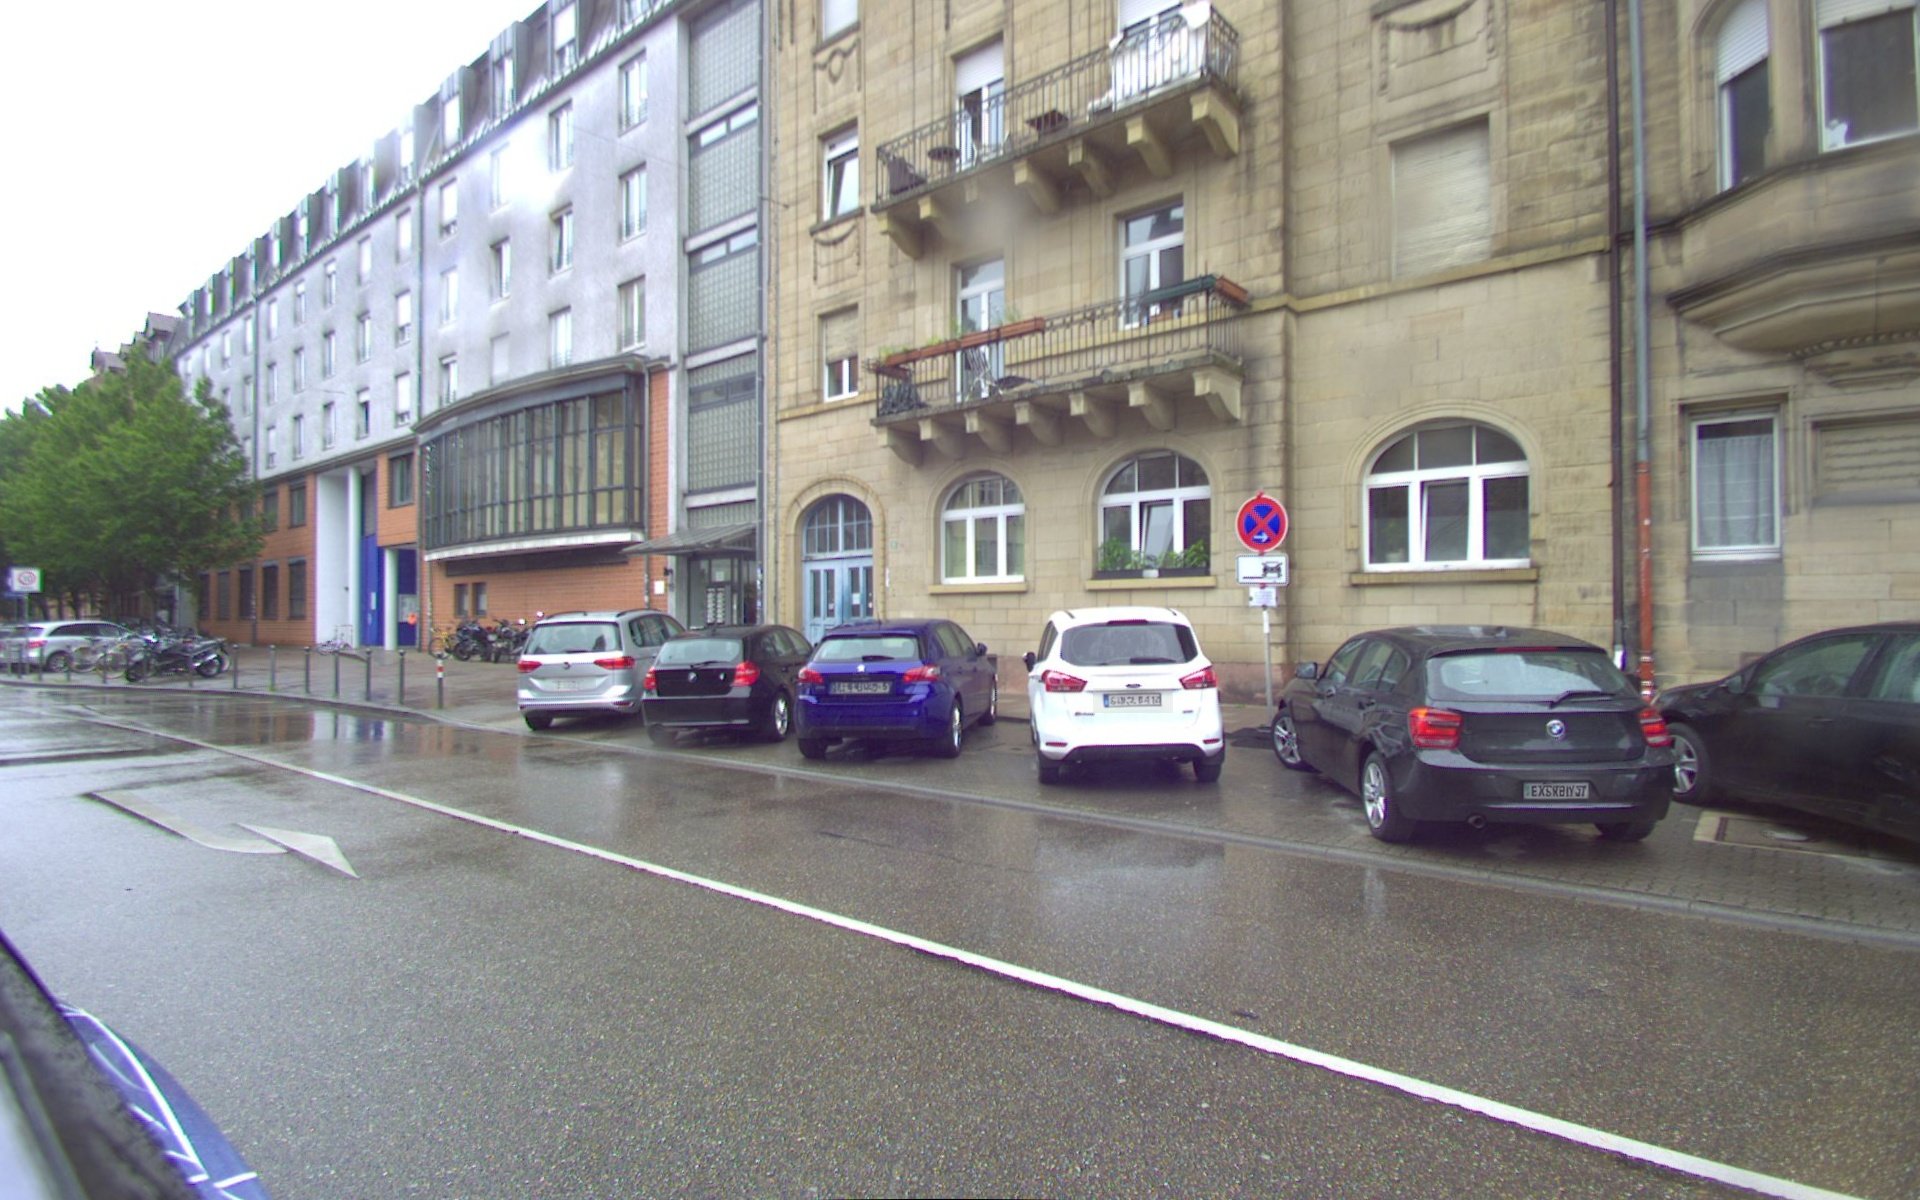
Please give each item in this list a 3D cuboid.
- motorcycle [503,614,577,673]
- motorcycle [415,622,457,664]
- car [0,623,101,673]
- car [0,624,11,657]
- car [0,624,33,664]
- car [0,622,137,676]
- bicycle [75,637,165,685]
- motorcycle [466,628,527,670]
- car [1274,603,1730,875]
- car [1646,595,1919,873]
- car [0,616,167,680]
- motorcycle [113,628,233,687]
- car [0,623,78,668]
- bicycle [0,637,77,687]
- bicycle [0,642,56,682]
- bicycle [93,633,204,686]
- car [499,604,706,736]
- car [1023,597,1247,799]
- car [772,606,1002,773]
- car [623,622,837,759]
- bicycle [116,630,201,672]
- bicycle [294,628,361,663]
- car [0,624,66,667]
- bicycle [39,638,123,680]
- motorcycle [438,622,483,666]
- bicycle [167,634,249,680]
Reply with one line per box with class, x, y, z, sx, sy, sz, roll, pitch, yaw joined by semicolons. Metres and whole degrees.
motorcycle;-10.831;1.107;26.057;2.361;1.474;0.767;-1;-3;41
motorcycle;-15.768;1.287;30.442;1.676;1.238;0.539;-1;-3;41
car;-33.412;1.699;36.100;1.992;1.728;3.762;-1;-2;30
car;-52.073;2.078;52.474;1.899;1.728;3.762;-1;-2;30
car;-43.379;1.926;44.268;1.992;1.728;3.762;-1;-2;30
car;-30.760;1.630;34.477;1.992;1.728;3.762;-1;-2;30
bicycle;-21.312;1.525;25.709;0.544;1.081;1.667;-1;1;38
motorcycle;-12.768;1.316;27.827;2.361;1.110;0.591;-1;-3;41
car;3.744;0.831;7.812;1.757;1.555;3.721;-2;0;6
car;6.278;0.764;6.174;1.606;1.555;3.758;-2;0;1
car;-27.284;1.441;31.294;1.981;1.828;3.981;0;-2;14
motorcycle;-19.399;1.397;24.988;0.758;1.320;2.226;-1;0;41
car;-37.542;1.796;39.863;1.992;1.728;3.762;-1;-2;30
bicycle;-23.454;1.552;25.516;0.544;1.081;1.668;-1;3;38
bicycle;-25.867;1.688;27.612;0.544;1.081;1.667;-1;-4;38
bicycle;-20.328;1.466;25.385;0.772;1.181;2.024;-1;1;38
car;-5.245;1.000;15.429;1.791;1.743;3.923;0;-2;-1
car;1.565;0.816;10.281;1.755;1.639;3.724;-2;0;3
car;-0.675;0.896;11.987;1.881;1.539;3.716;0;1;10
car;-2.866;1.093;13.467;1.697;1.539;3.721;0;-2;6
bicycle;-21.291;1.340;26.918;0.544;1.081;1.667;-1;-3;38
bicycle;-22.542;1.626;36.106;1.873;1.234;0.939;1;-2;-23
car;-40.056;1.883;42.179;1.992;1.728;3.762;-1;-2;30
bicycle;-24.303;1.617;27.995;0.544;1.081;1.667;-1;-2;38
motorcycle;-14.447;1.270;29.270;1.676;1.238;0.539;-1;-3;41
bicycle;-20.121;1.509;27.102;0.544;1.081;1.667;-1;1;38
